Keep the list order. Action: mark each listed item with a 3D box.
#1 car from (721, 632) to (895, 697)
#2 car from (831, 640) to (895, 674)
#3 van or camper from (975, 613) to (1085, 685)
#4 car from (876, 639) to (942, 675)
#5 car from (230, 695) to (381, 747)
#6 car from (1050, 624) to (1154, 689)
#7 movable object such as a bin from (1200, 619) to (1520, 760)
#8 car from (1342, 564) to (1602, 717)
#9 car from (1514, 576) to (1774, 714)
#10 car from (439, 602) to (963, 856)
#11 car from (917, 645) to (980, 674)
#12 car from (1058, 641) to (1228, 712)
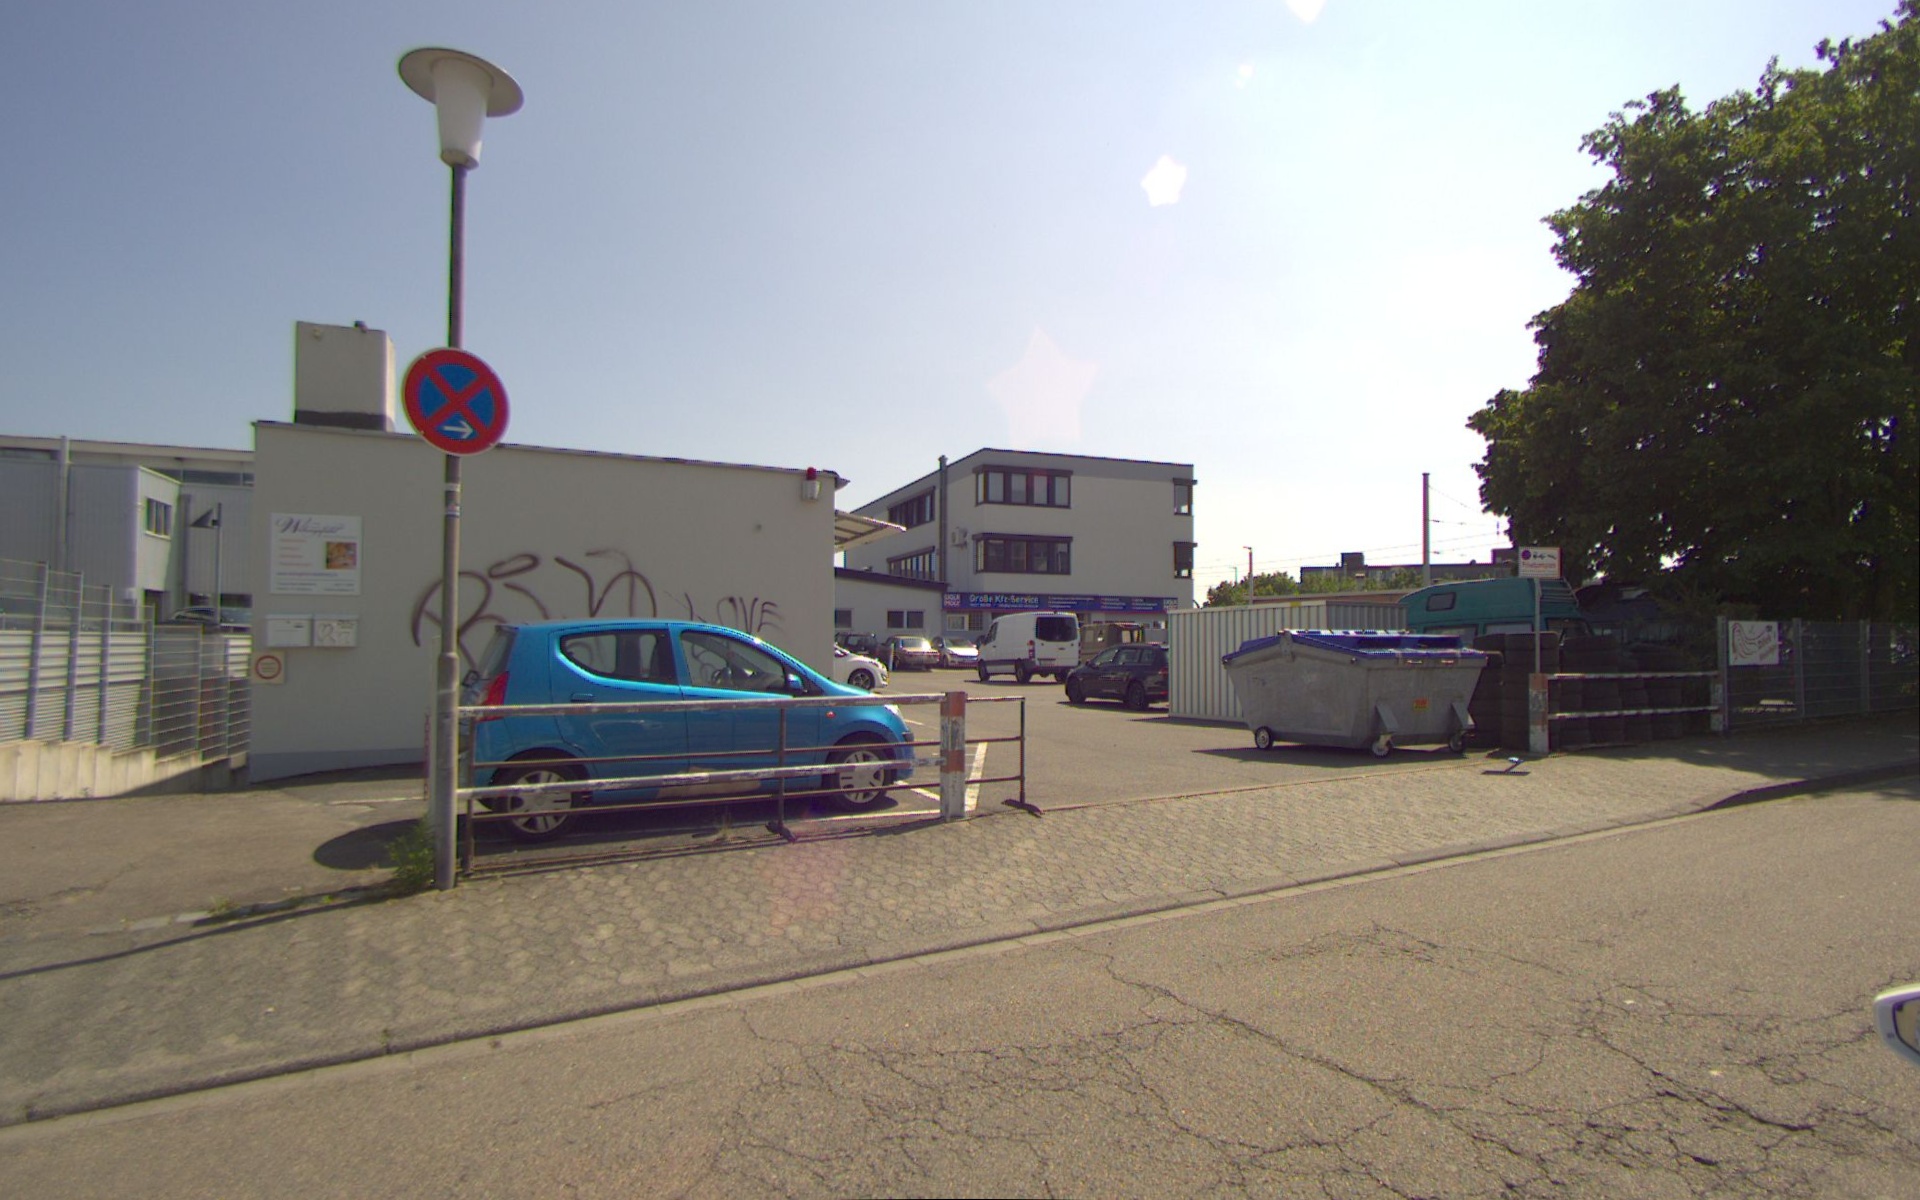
[{"bbox_3d":[-3.893,1.634,25.703,4.160,1.550,1.813,1,-3,-19],"label":"car"},{"bbox_3d":[-4.337,2.499,44.424,1.969,1.453,3.984,0,-3,-19],"label":"car"},{"bbox_3d":[2.378,1.722,35.452,2.090,2.354,4.770,1,-3,-21],"label":"van or camper"},{"bbox_3d":[-2.356,2.557,45.429,1.872,1.540,3.982,1,-3,-21],"label":"car"},{"bbox_3d":[-22.514,4.146,34.746,4.172,1.548,1.542,1,-2,-26],"label":"car"},{"bbox_3d":[5.045,2.023,36.195,1.972,2.173,3.979,1,-3,-23],"label":"car"},{"bbox_3d":[4.944,1.052,12.672,2.691,1.530,2.620,1,-3,-25],"label":"movable object such as a bin"},{"bbox_3d":[9.499,0.752,18.959,1.757,2.546,4.064,1,-2,-32],"label":"car"},{"bbox_3d":[13.966,0.915,20.754,1.757,2.546,4.064,1,-2,-32],"label":"car"},{"bbox_3d":[-1.982,0.873,7.908,3.635,1.550,1.805,2,-3,-32],"label":"car"},{"bbox_3d":[-0.583,2.696,46.049,1.661,1.235,3.948,1,-3,-20],"label":"car"},{"bbox_3d":[4.098,1.706,23.193,1.730,1.474,4.129,1,-3,-26],"label":"car"}]
